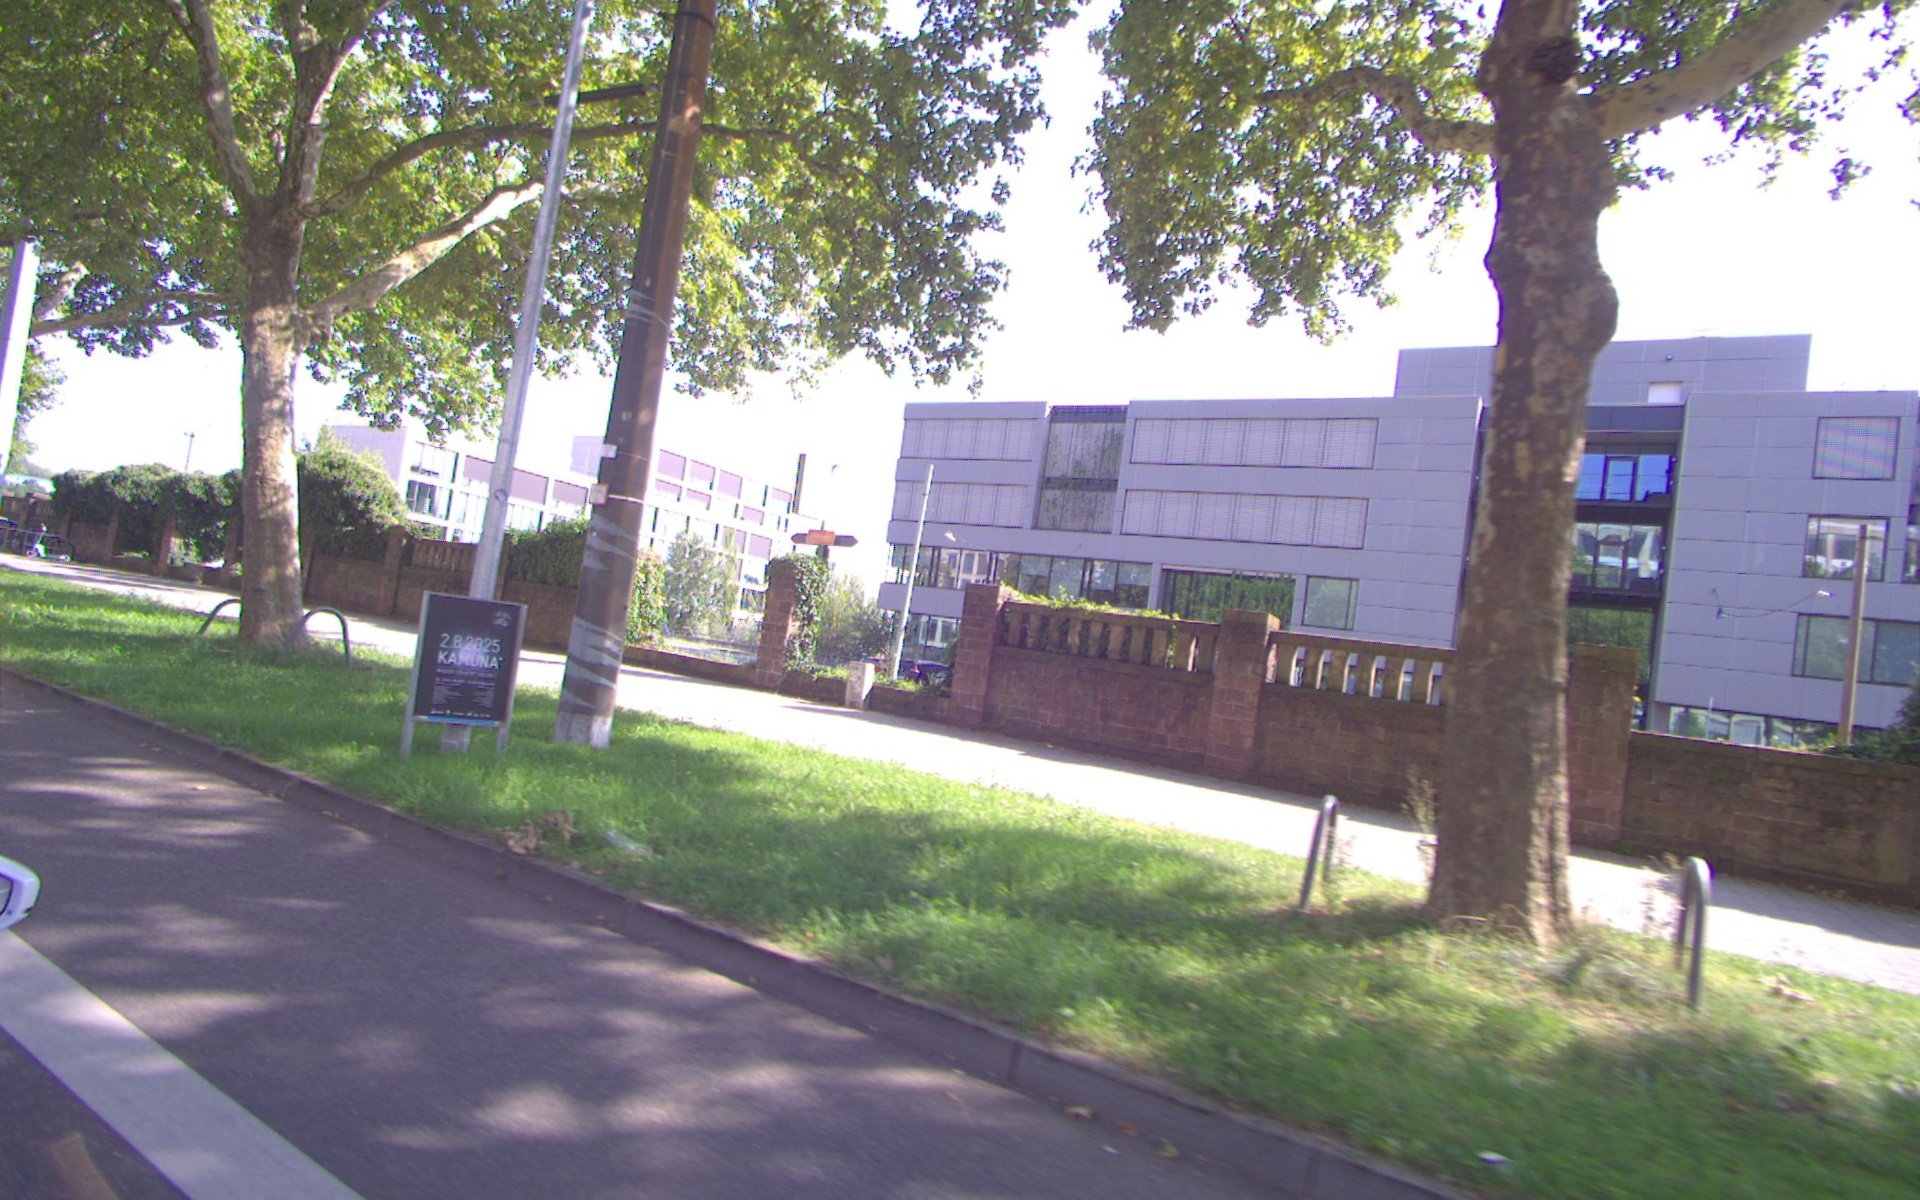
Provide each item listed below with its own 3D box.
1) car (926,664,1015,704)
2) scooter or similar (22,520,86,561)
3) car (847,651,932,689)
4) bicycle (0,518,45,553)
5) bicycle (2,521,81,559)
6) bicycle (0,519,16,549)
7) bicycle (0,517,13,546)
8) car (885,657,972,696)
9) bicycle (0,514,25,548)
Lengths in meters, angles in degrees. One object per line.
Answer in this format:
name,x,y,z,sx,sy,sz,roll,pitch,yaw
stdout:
car,0.531,3.979,47.486,3.949,1.473,1.794,9,-3,-43
scooter or similar,-32.128,-2.097,35.698,0.530,1.205,1.507,6,-2,35
car,-3.588,3.601,51.516,3.949,1.473,1.795,9,-3,-42
bicycle,-35.877,-2.500,37.646,0.730,1.088,2.180,6,-3,29
bicycle,-32.951,-2.139,36.106,0.722,1.017,1.872,6,-3,30
bicycle,-37.847,-2.681,38.634,0.731,1.089,2.175,6,-1,35
bicycle,-38.448,-2.799,39.117,0.731,1.089,2.175,6,-1,35
car,-1.517,3.755,49.274,3.949,1.473,1.795,9,-3,-42
bicycle,-39.337,-2.905,40.483,0.982,1.292,2.248,5,-2,30
